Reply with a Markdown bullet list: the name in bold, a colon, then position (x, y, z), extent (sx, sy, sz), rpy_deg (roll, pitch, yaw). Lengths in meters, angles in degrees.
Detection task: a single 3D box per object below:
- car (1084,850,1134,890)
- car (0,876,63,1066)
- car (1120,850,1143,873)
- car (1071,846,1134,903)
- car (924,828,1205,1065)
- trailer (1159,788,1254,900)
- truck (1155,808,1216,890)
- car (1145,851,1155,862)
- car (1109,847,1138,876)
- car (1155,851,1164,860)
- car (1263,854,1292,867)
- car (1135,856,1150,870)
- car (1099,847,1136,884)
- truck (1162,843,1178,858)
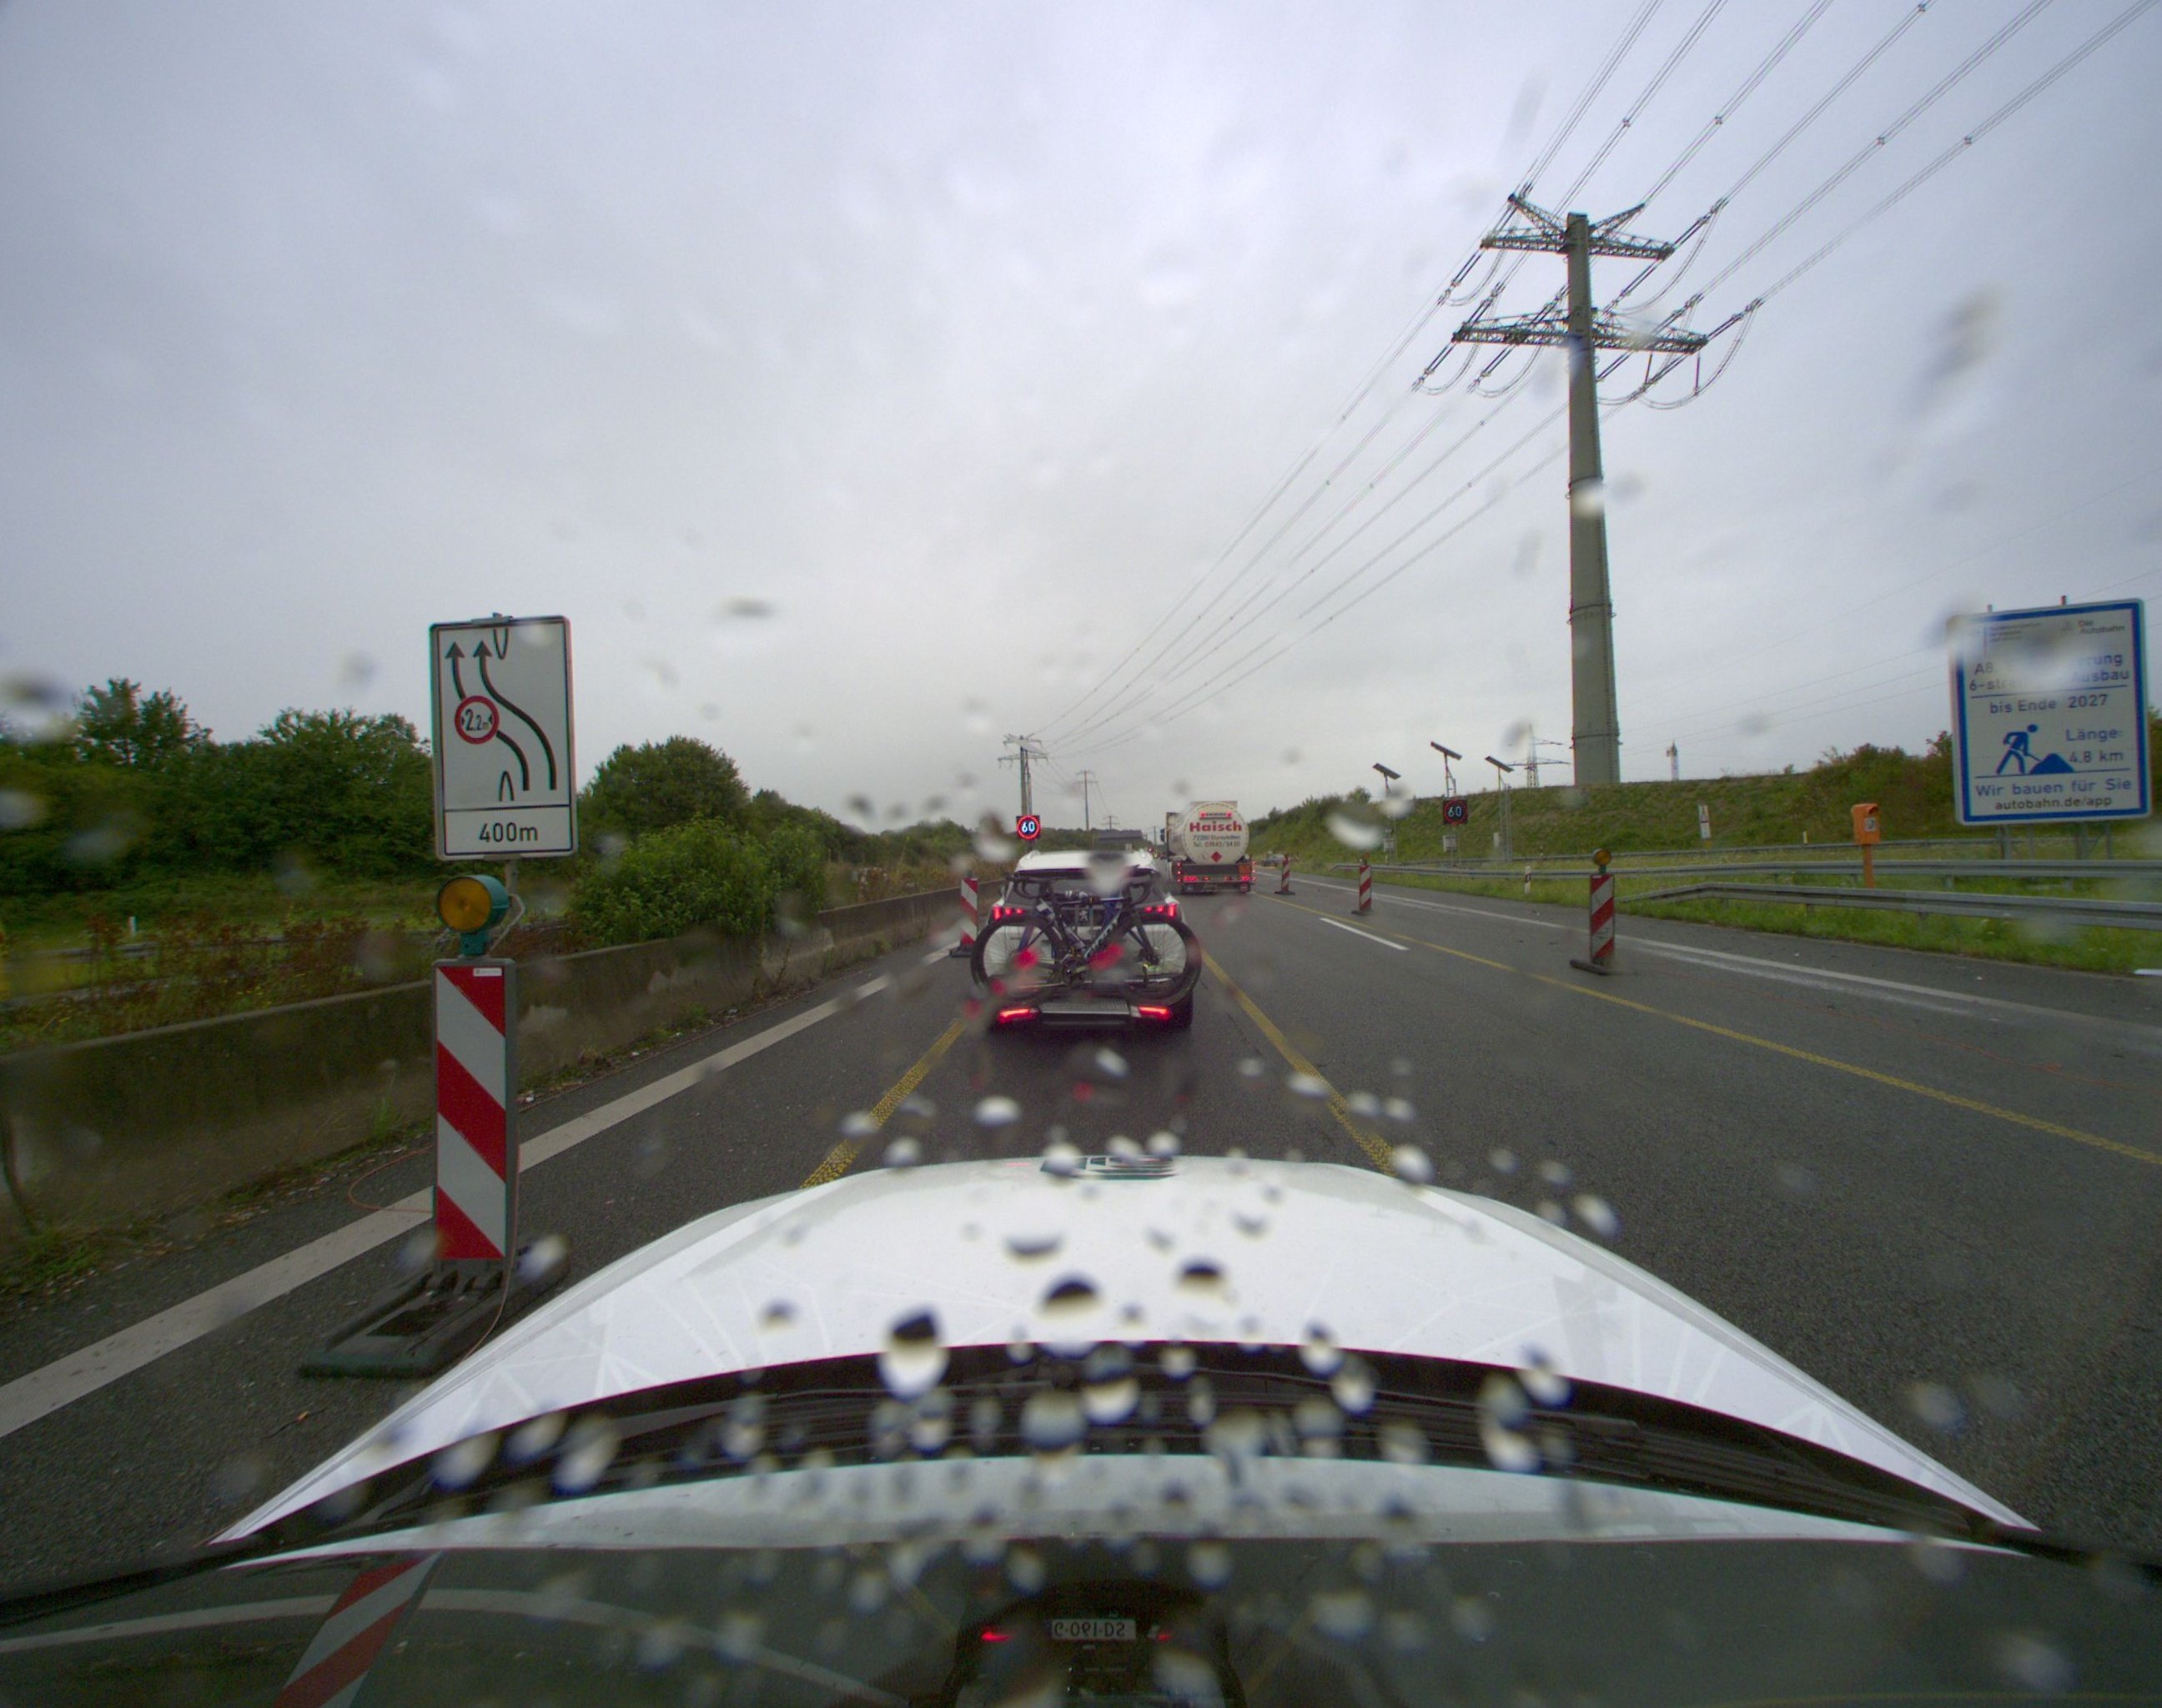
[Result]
- **car**: position (1.214, 0.643, 35.249), extent (1.986, 1.584, 4.002), rpy_deg (-1, 0, 2)
- **car**: position (-12.861, 1.337, 7.011), extent (1.985, 2.047, 4.782), rpy_deg (-2, 0, 3)
- **car**: position (4.666, 0.687, 75.200), extent (1.986, 2.014, 4.001), rpy_deg (0, -1, 2)
- **car**: position (0.817, 0.665, 28.313), extent (1.985, 1.760, 4.004), rpy_deg (-3, 0, 3)
- **car**: position (0.048, 0.645, 7.916), extent (1.919, 1.611, 4.600), rpy_deg (-1, 0, 4)
- **trailer**: position (4.899, -0.293, 33.891), extent (2.628, 3.893, 10.547), rpy_deg (0, -1, 2)
- **truck**: position (5.130, -0.217, 40.587), extent (2.635, 3.891, 4.031), rpy_deg (0, -1, 2)
- **car**: position (12.379, 0.449, 146.488), extent (1.645, 2.013, 4.007), rpy_deg (-1, 0, 6)
- **car**: position (3.169, 0.519, 61.700), extent (1.986, 2.013, 4.002), rpy_deg (-3, 0, 2)
- **car**: position (17.947, 0.386, 186.409), extent (1.986, 2.014, 4.001), rpy_deg (0, -1, 2)
- **car**: position (19.281, 0.653, 80.057), extent (1.481, 1.161, 3.896), rpy_deg (-2, 0, -8)
- **car**: position (8.958, 1.291, 118.873), extent (1.986, 2.014, 4.001), rpy_deg (0, -1, 2)
- **car**: position (2.124, 0.632, 47.502), extent (1.986, 2.013, 4.002), rpy_deg (-3, 0, 2)
- **truck**: position (25.154, -0.874, 230.831), extent (3.715, 3.822, 11.879), rpy_deg (-1, -1, 4)
